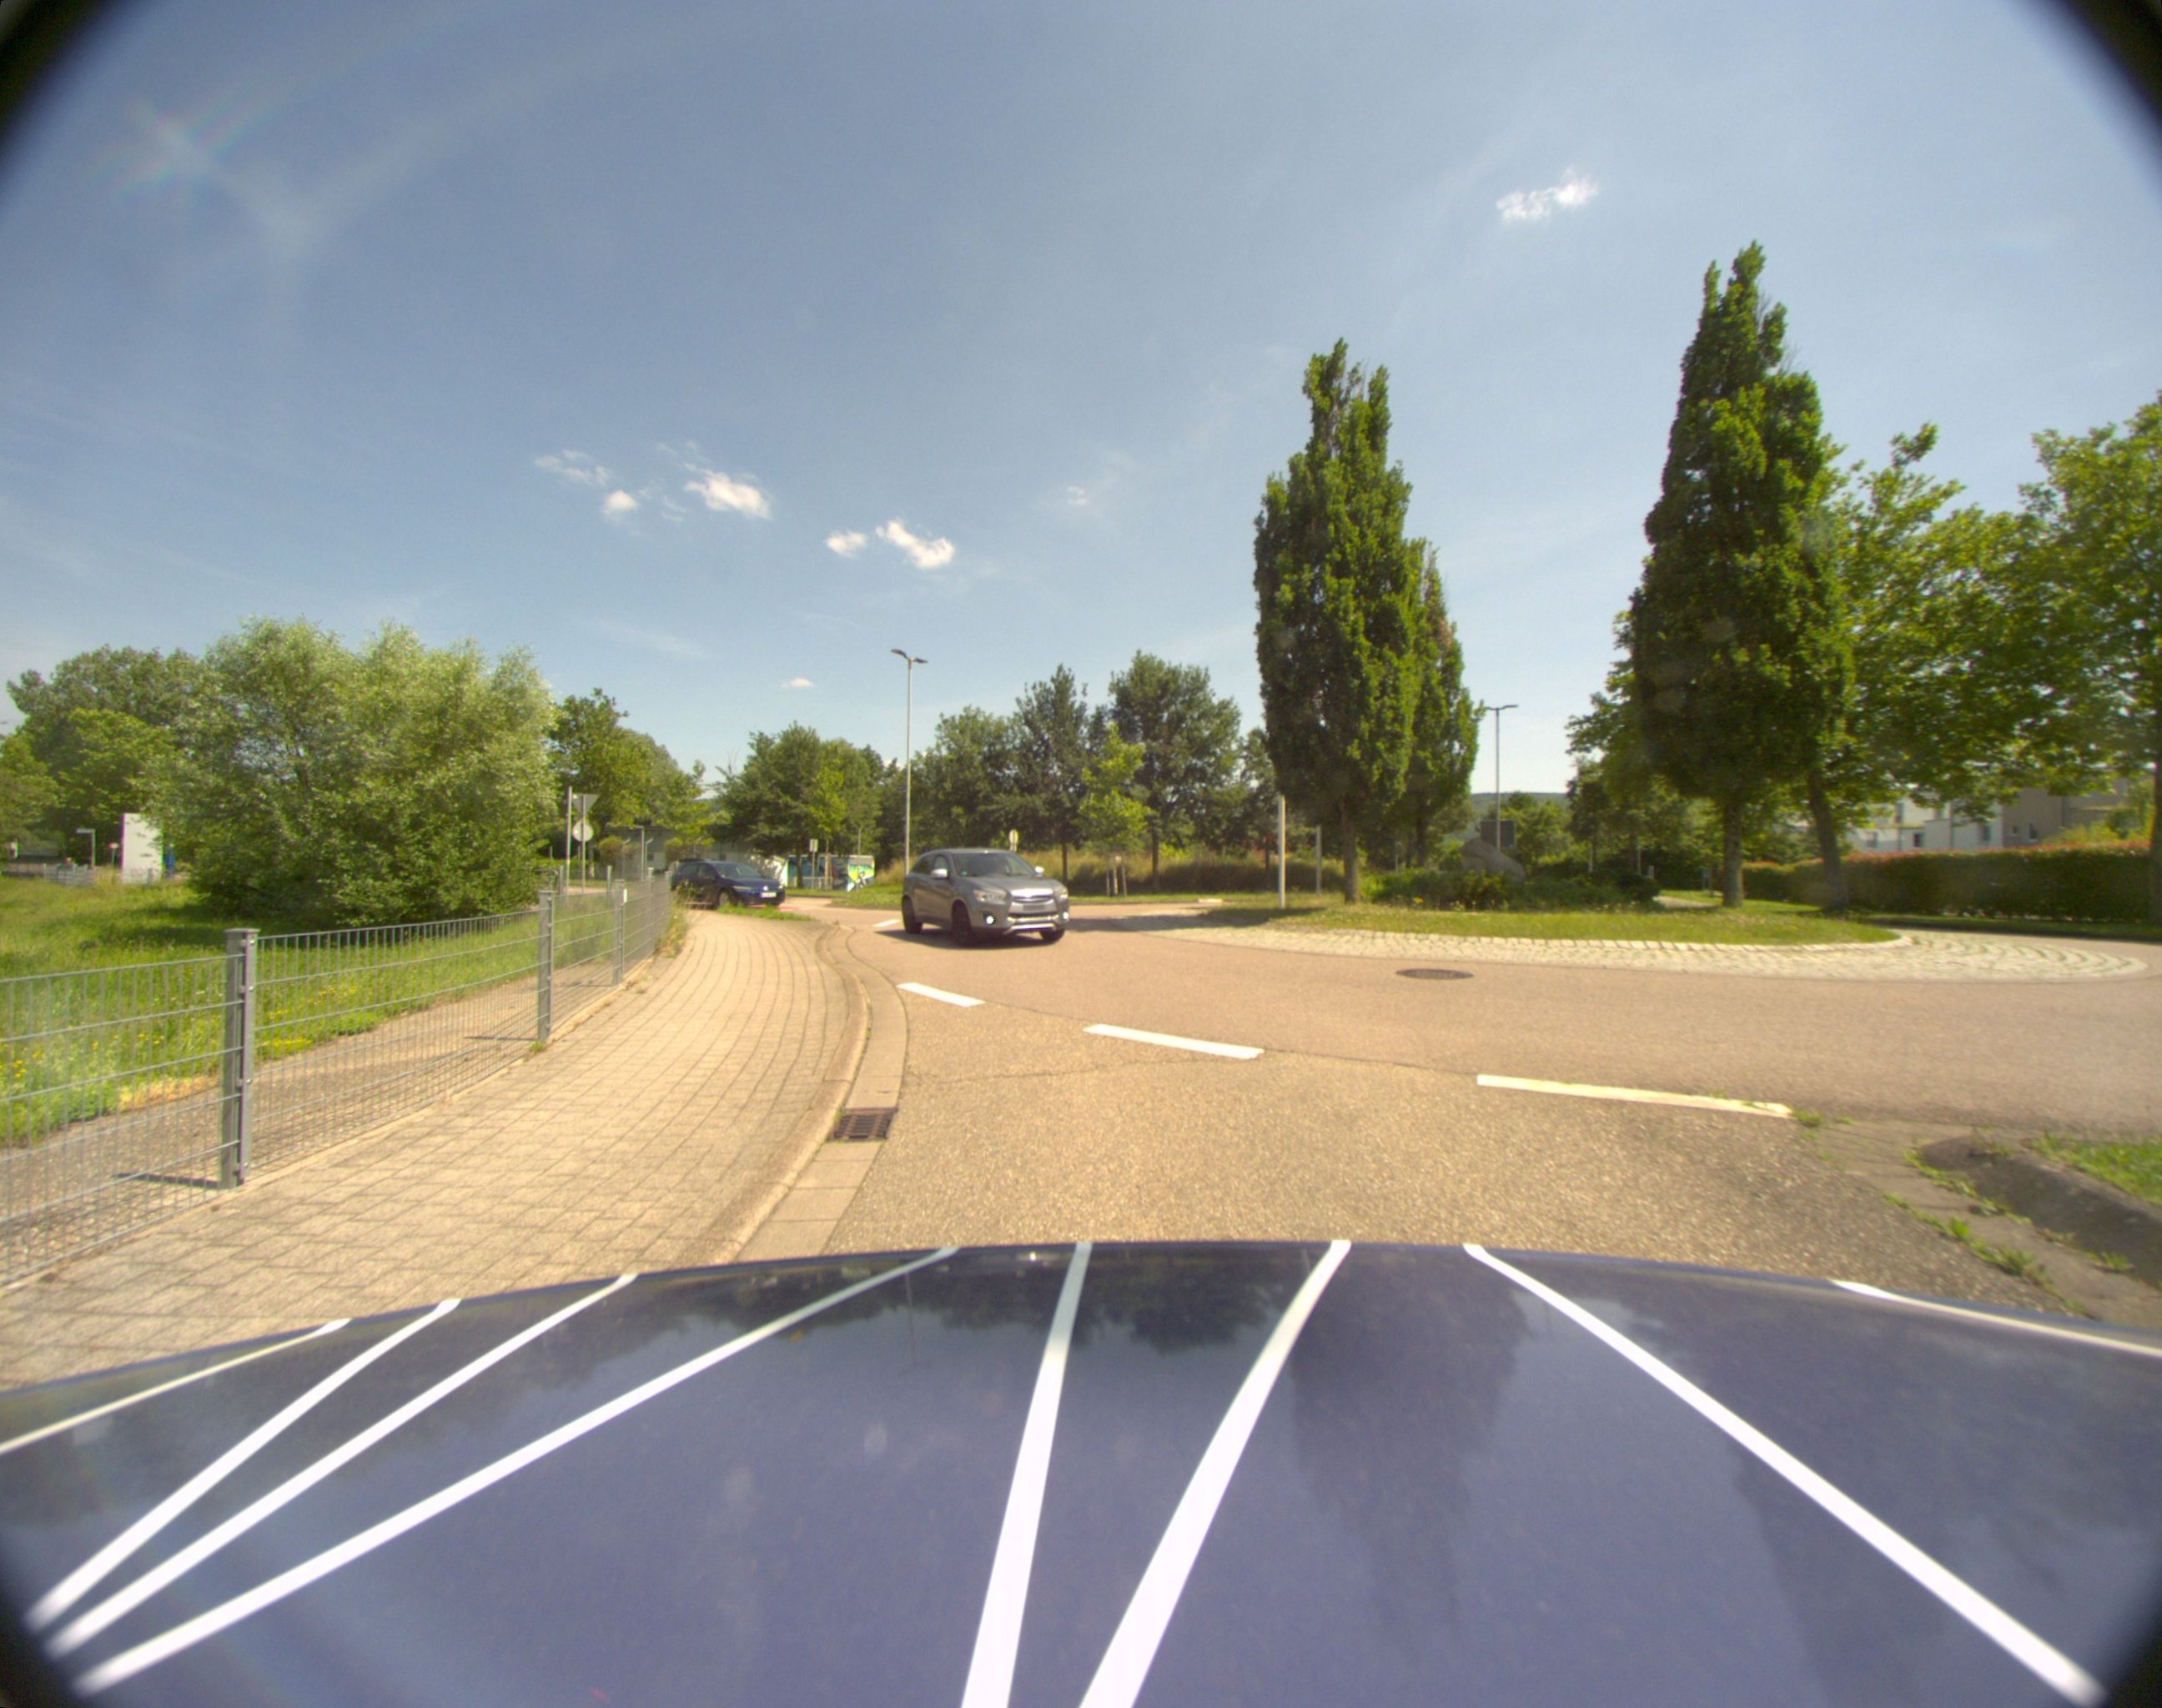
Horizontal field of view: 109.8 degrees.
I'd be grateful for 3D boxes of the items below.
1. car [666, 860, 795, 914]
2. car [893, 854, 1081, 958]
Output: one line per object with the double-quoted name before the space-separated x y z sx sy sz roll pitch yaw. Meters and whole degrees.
"car" -10.947 0.966 23.627 4.119 1.530 1.798 0 0 35
"car" -1.867 0.783 13.588 1.754 1.525 4.514 1 0 -29
